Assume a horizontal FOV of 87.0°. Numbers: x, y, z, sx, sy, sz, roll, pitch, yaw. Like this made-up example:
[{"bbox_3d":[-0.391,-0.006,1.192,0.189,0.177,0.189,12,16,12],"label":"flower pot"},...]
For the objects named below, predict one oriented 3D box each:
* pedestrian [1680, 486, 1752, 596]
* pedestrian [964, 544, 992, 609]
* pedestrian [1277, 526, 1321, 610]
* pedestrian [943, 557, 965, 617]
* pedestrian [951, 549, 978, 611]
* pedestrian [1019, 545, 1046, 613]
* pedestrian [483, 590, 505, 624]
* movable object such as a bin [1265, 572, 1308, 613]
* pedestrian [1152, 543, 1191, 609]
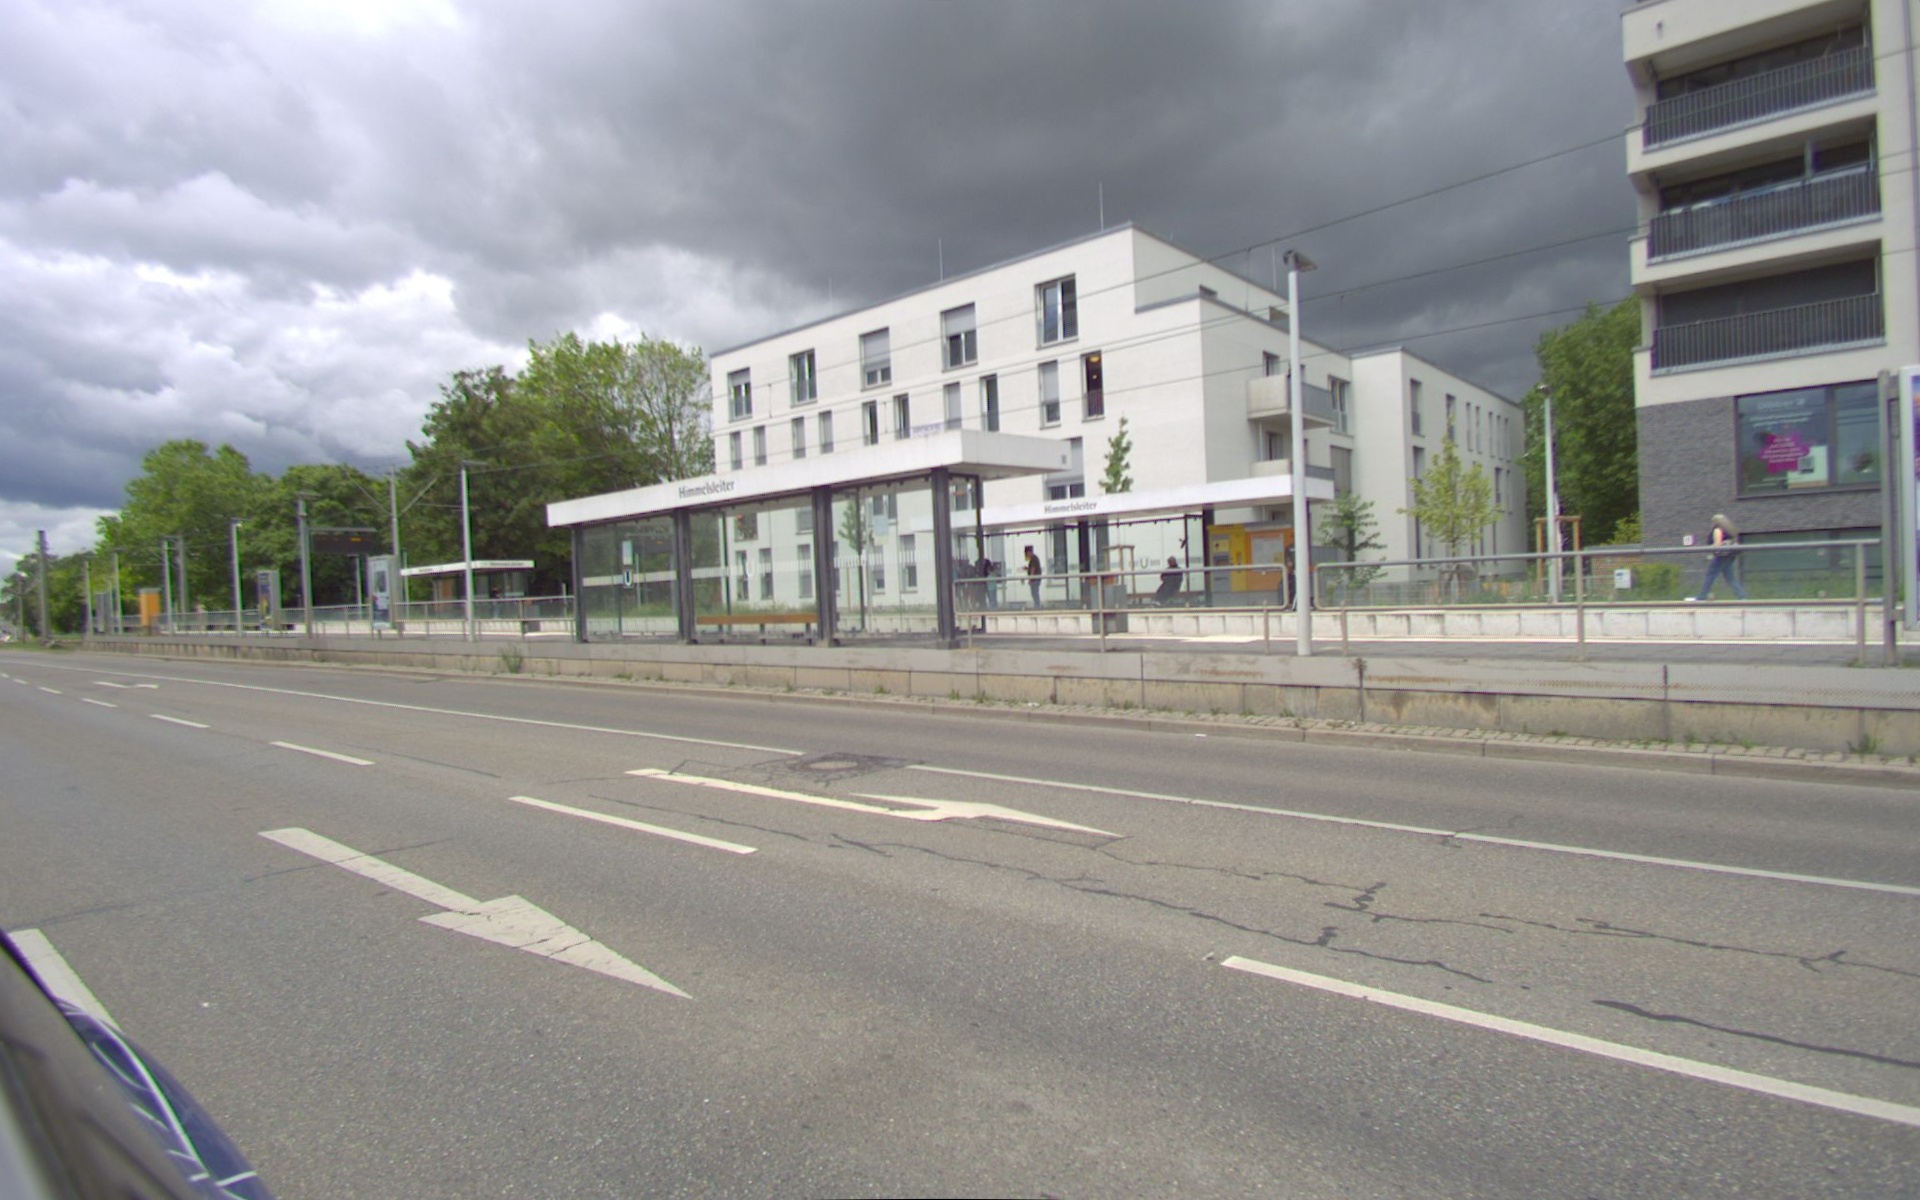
[{"bbox_3d":[12.855,-0.980,17.207,0.933,1.779,0.669,-2,1,39],"label":"pedestrian"},{"bbox_3d":[0.504,-0.646,27.953,0.669,1.738,0.488,-2,0,6],"label":"pedestrian"},{"bbox_3d":[7.343,-0.683,21.907,0.677,1.779,0.555,-2,1,42],"label":"pedestrian"},{"bbox_3d":[-0.160,-0.354,27.997,0.481,1.608,0.679,-2,0,-7],"label":"pedestrian"},{"bbox_3d":[0.121,-0.528,26.937,0.481,1.608,0.679,-2,0,-15],"label":"pedestrian"},{"bbox_3d":[1.929,-0.550,26.982,0.481,1.779,0.679,-2,0,-15],"label":"pedestrian"},{"bbox_3d":[-21.413,0.317,46.491,0.732,1.542,0.548,-2,0,-5],"label":"pedestrian"},{"bbox_3d":[6.984,-0.162,21.651,0.677,0.856,0.555,-2,1,42],"label":"movable object such as a bin"},{"bbox_3d":[5.124,-0.579,24.503,0.677,1.566,0.555,-2,1,42],"label":"pedestrian"}]
